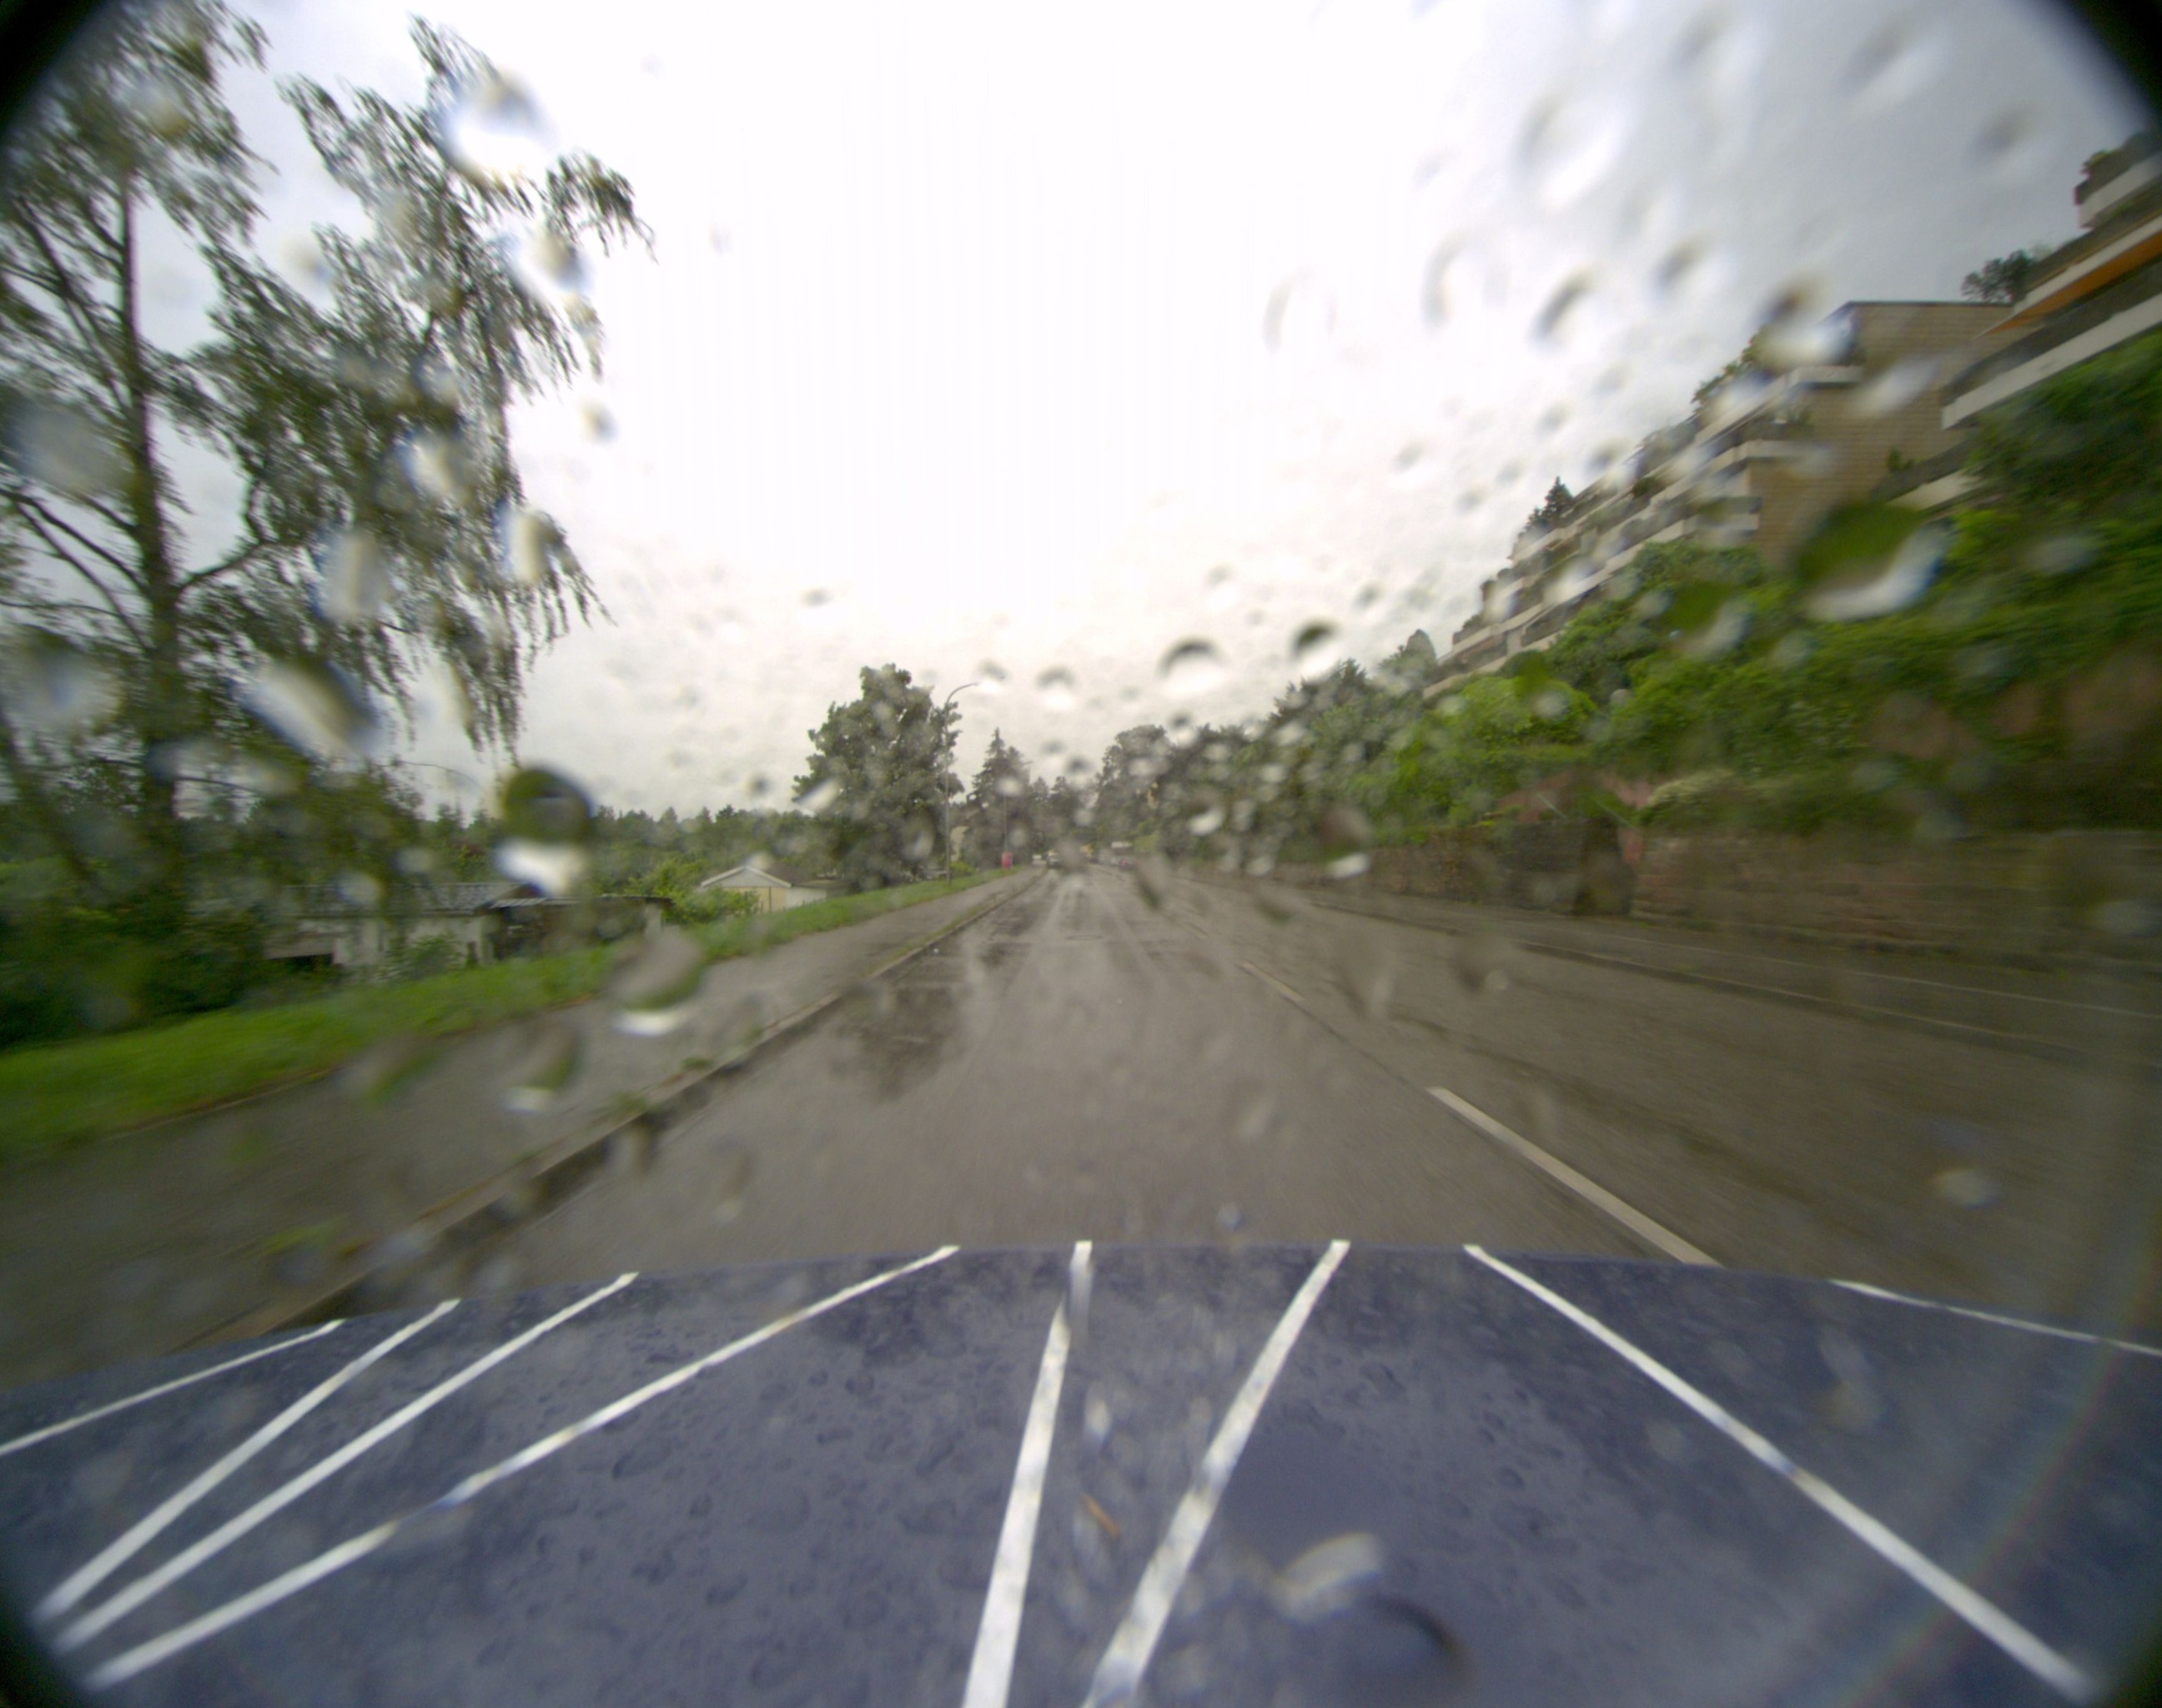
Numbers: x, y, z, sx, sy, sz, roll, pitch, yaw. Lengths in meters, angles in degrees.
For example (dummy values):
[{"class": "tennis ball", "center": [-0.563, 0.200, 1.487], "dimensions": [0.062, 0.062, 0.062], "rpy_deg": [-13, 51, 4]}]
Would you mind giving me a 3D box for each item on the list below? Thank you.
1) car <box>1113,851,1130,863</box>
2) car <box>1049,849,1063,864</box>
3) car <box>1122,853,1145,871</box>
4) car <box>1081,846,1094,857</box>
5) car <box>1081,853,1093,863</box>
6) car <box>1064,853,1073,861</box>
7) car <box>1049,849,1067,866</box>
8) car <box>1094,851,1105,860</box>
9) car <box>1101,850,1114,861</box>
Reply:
[{"class": "car", "center": [5.349, 0.420, 100.875], "dimensions": [1.853, 1.583, 3.704], "rpy_deg": [-1, 0, -1]}, {"class": "car", "center": [-3.737, 0.370, 113.566], "dimensions": [1.998, 2.168, 4.000], "rpy_deg": [-1, 0, 0]}, {"class": "car", "center": [4.528, 0.698, 66.091], "dimensions": [1.597, 1.433, 3.704], "rpy_deg": [1, 0, -1]}, {"class": "car", "center": [1.379, -0.447, 158.200], "dimensions": [1.855, 2.137, 3.701], "rpy_deg": [-1, 0, -12]}, {"class": "car", "center": [0.996, 0.690, 123.272], "dimensions": [1.853, 1.583, 3.704], "rpy_deg": [-1, 0, -1]}, {"class": "car", "center": [-2.534, 0.534, 156.421], "dimensions": [1.853, 1.583, 5.145], "rpy_deg": [-1, 0, -1]}, {"class": "car", "center": [-2.758, 0.416, 91.983], "dimensions": [1.998, 2.001, 4.000], "rpy_deg": [-1, 0, 0]}, {"class": "car", "center": [3.351, 0.227, 136.137], "dimensions": [1.853, 1.583, 3.704], "rpy_deg": [-1, 0, -1]}, {"class": "car", "center": [4.212, 0.223, 120.265], "dimensions": [1.853, 1.583, 3.704], "rpy_deg": [-1, 0, -1]}]
